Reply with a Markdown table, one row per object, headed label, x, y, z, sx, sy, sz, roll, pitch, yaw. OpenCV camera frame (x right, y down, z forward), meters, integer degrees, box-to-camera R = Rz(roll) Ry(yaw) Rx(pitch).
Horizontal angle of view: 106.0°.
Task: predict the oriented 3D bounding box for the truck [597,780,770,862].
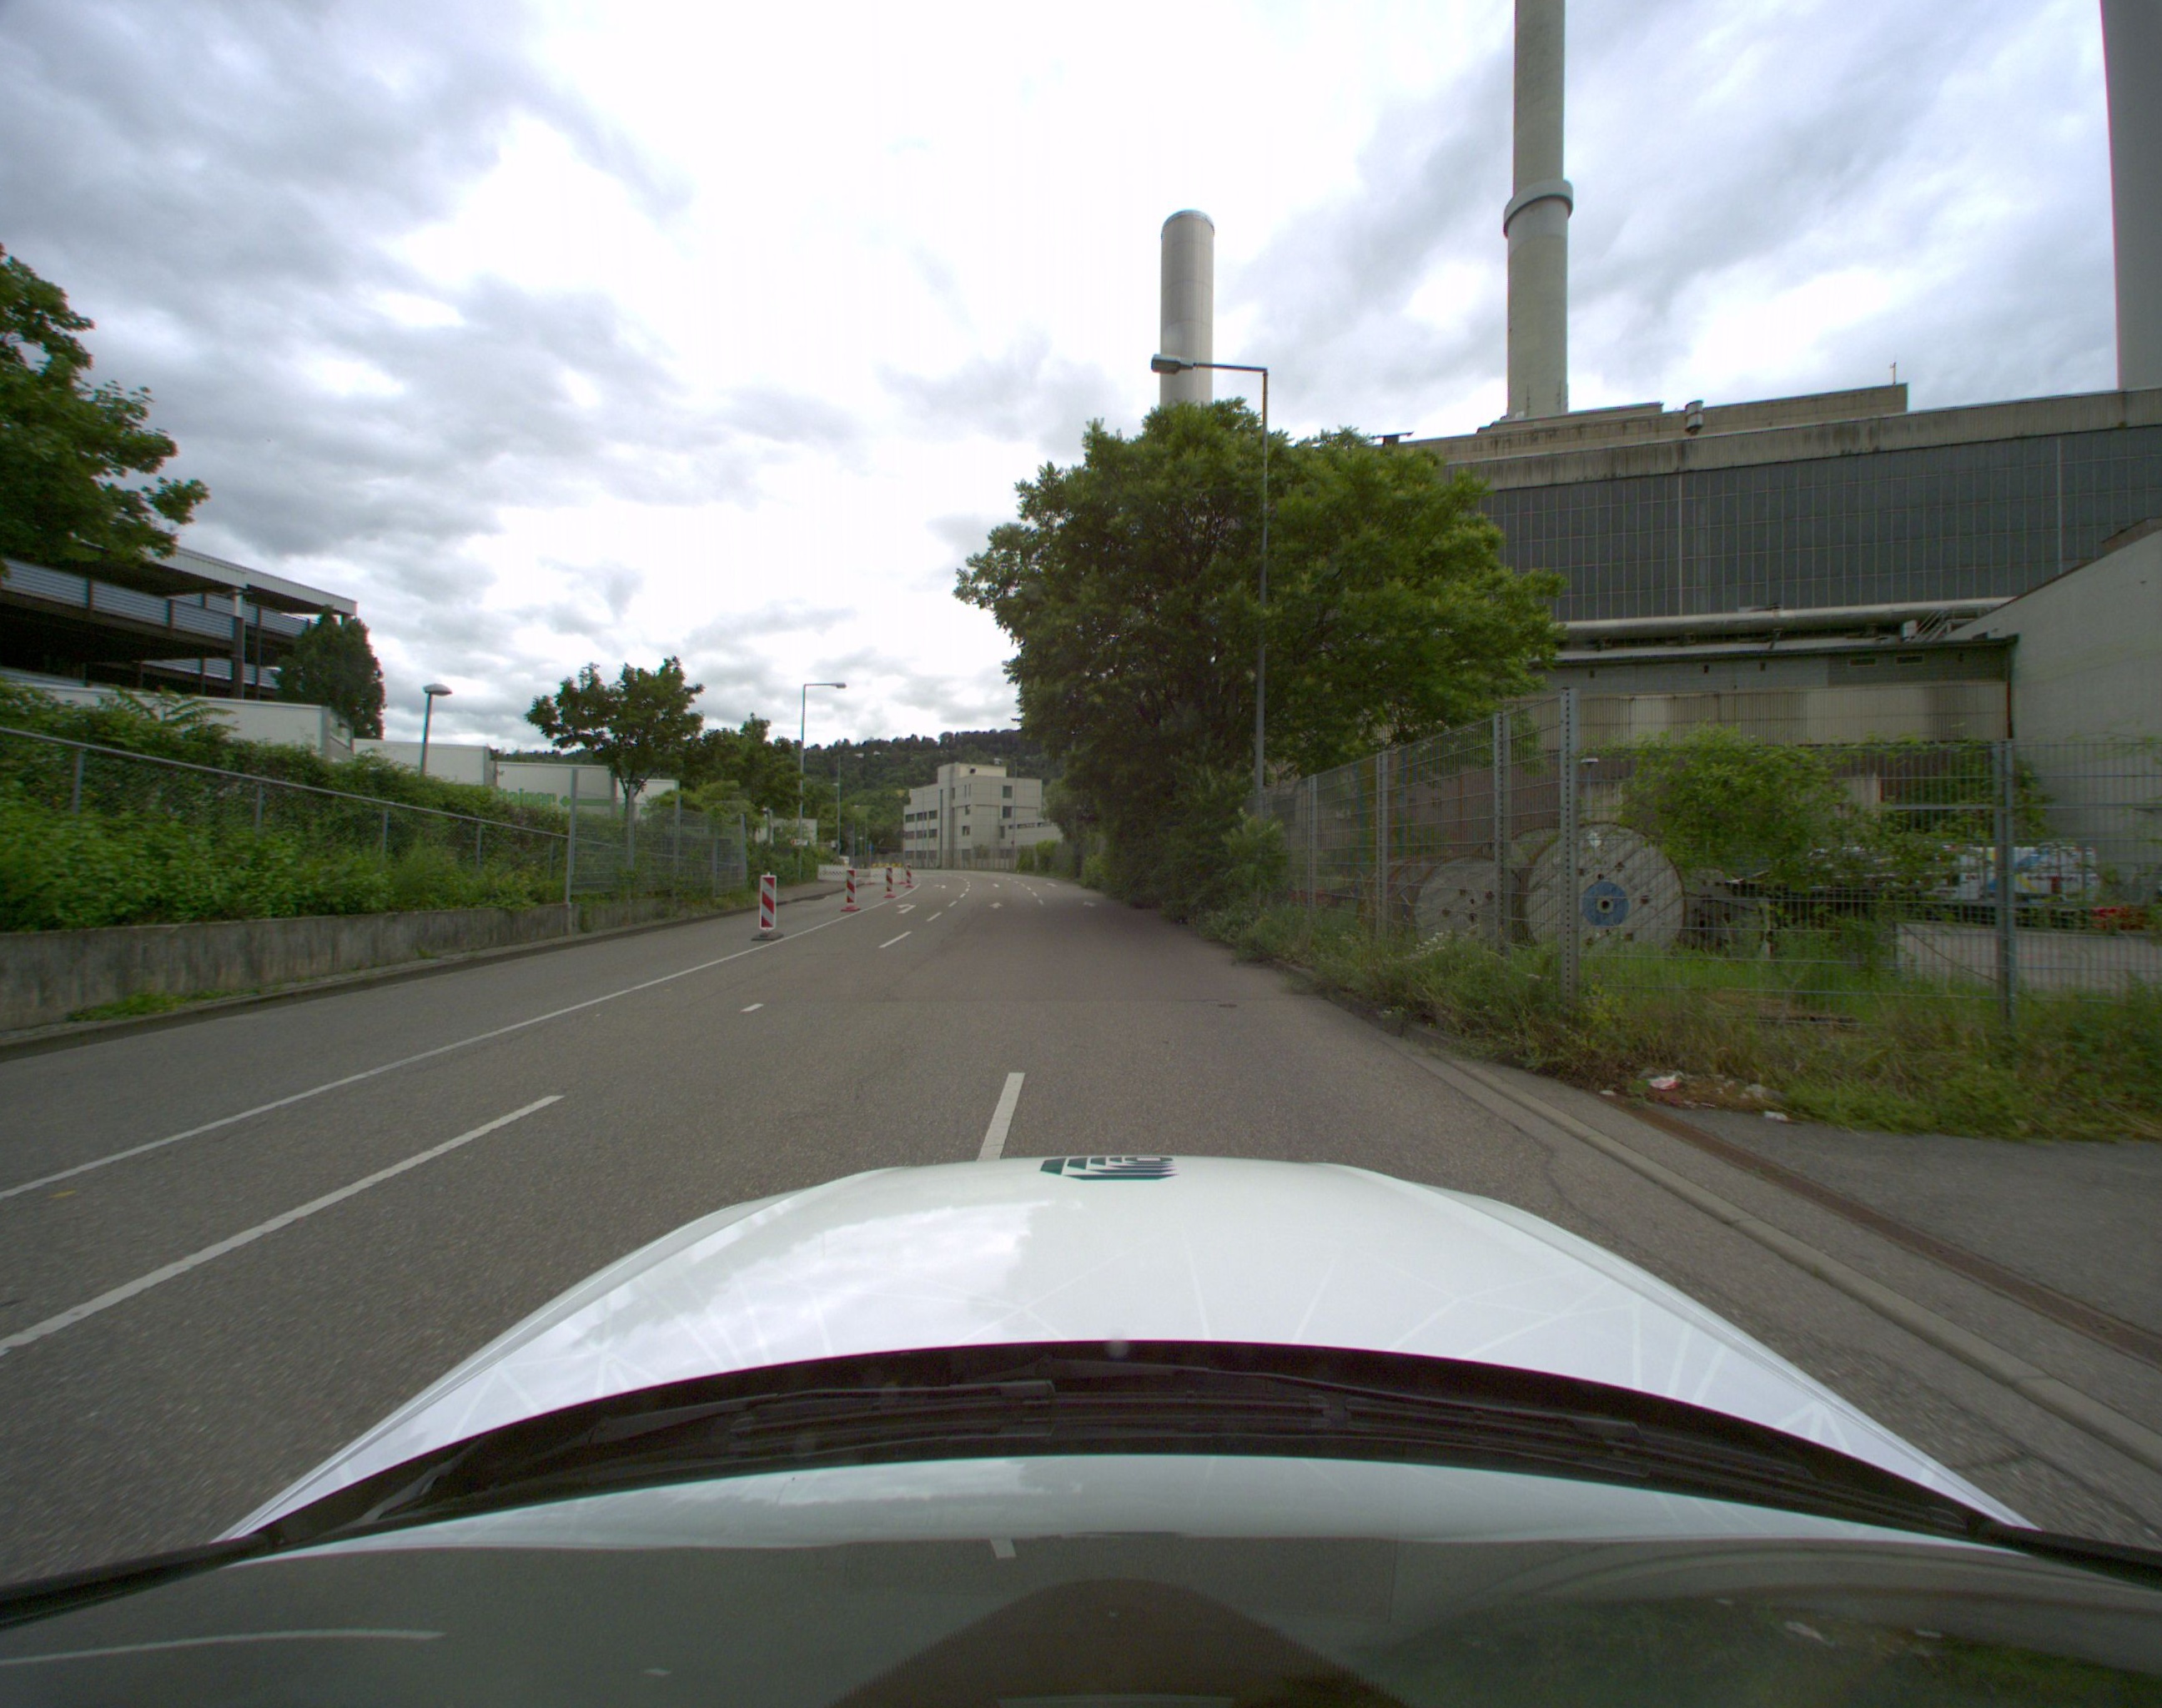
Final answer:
| label | x | y | z | sx | sy | sz | roll | pitch | yaw |
| --- | --- | --- | --- | --- | --- | --- | --- | --- | --- |
| truck | -21.154 | -1.640 | 43.885 | 7.859 | 3.992 | 3.034 | 1 | -2 | -17 |

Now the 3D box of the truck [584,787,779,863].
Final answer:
| label | x | y | z | sx | sy | sz | roll | pitch | yaw |
| --- | --- | --- | --- | --- | --- | --- | --- | --- | --- |
| truck | -22.792 | -1.540 | 47.159 | 9.638 | 3.992 | 3.036 | 1 | -2 | -16 |

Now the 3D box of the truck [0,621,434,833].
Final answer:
| label | x | y | z | sx | sy | sz | roll | pitch | yaw |
| --- | --- | --- | --- | --- | --- | --- | --- | --- | --- |
| truck | -19.282 | -2.466 | 17.380 | 8.185 | 3.539 | 3.020 | 2 | -3 | -33 |

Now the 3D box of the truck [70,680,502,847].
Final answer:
| label | x | y | z | sx | sy | sz | roll | pitch | yaw |
| --- | --- | --- | --- | --- | --- | --- | --- | --- | --- |
| truck | -20.894 | -2.143 | 22.359 | 7.895 | 3.539 | 3.020 | 2 | -3 | -33 |

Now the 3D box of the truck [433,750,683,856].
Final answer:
| label | x | y | z | sx | sy | sz | roll | pitch | yaw |
| --- | --- | --- | --- | --- | --- | --- | --- | --- | --- |
| truck | -20.343 | -1.804 | 32.290 | 7.892 | 3.539 | 3.022 | 2 | -3 | -31 |

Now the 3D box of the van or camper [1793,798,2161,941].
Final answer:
| label | x | y | z | sx | sy | sz | roll | pitch | yaw |
| --- | --- | --- | --- | --- | --- | --- | --- | --- | --- |
| van or camper | 33.463 | 0.621 | 29.126 | 11.790 | 4.532 | 5.474 | 1 | -2 | -6 |

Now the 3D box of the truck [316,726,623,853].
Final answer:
| label | x | y | z | sx | sy | sz | roll | pitch | yaw |
| --- | --- | --- | --- | --- | --- | --- | --- | --- | --- |
| truck | -20.216 | -1.955 | 27.754 | 7.886 | 3.539 | 3.024 | 1 | -3 | -28 |
